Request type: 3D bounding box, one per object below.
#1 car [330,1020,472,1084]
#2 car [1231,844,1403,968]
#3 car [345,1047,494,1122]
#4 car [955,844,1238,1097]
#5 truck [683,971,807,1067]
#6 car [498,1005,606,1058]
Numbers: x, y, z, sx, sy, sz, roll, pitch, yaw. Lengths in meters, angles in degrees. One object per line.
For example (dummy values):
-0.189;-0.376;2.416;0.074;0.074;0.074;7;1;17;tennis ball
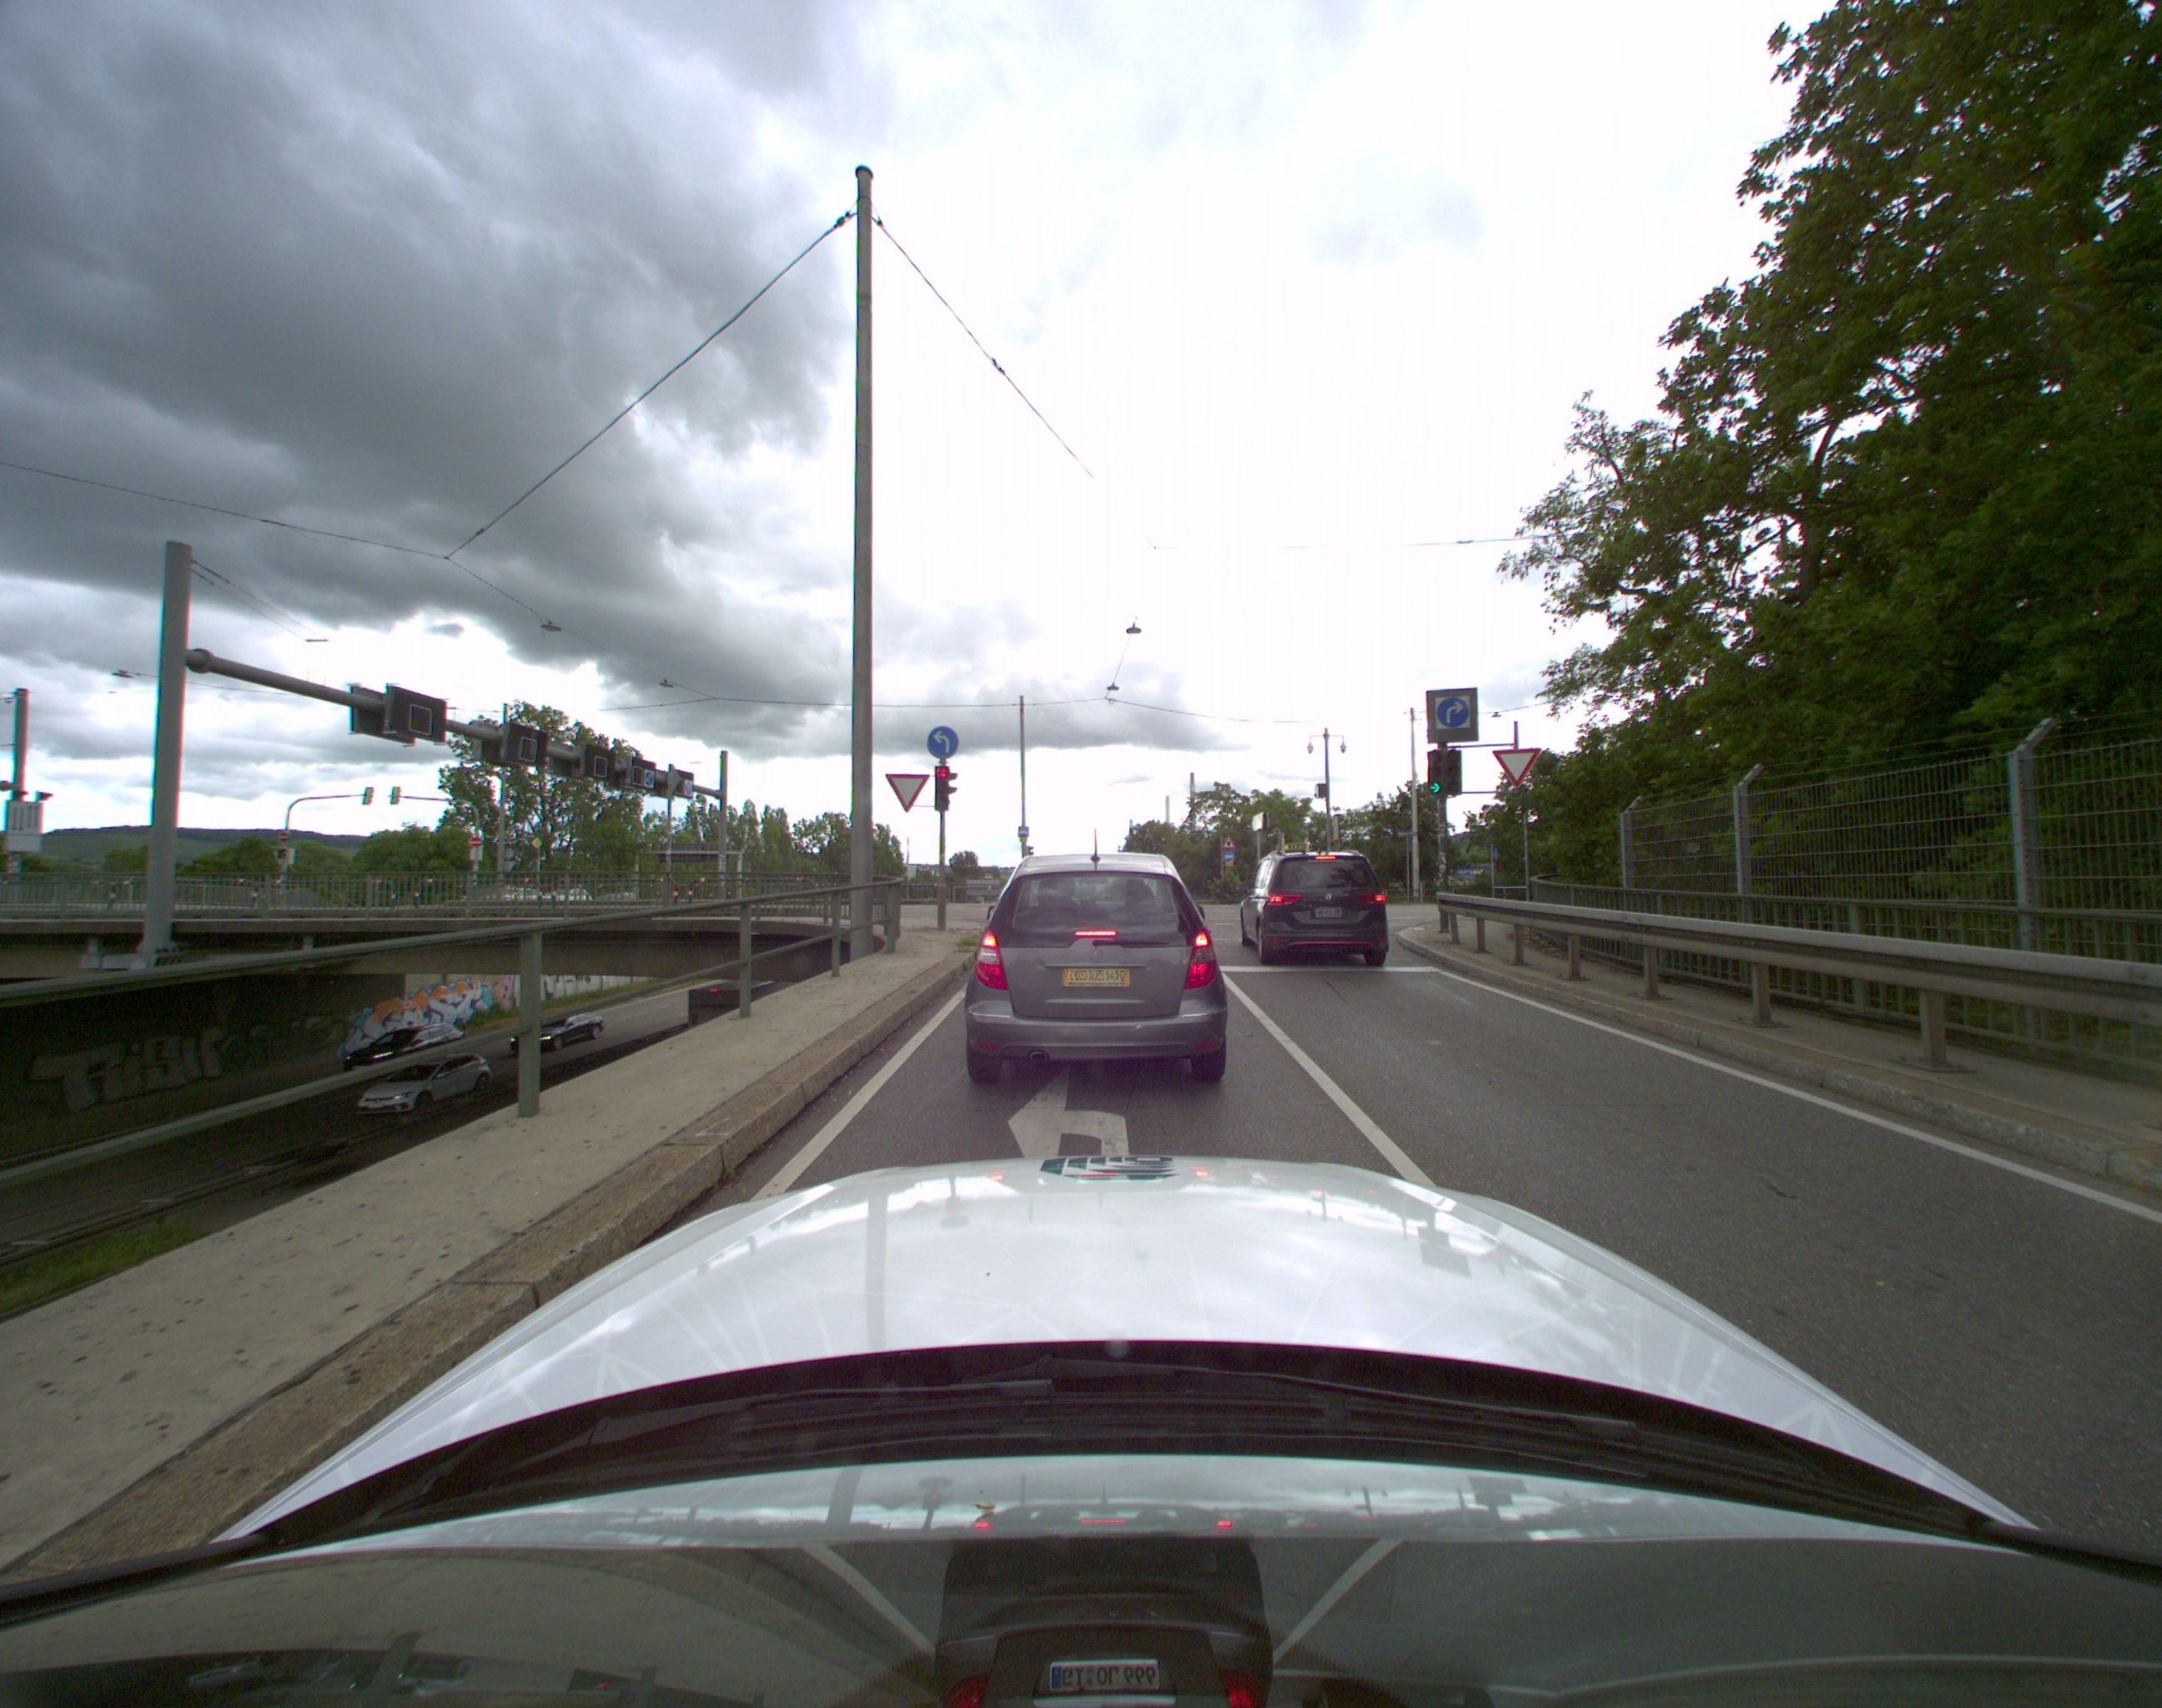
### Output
-28.315;8.218;34.160;1.986;1.626;4.580;-3;-3;2;car
3.531;0.714;12.976;1.788;1.653;4.155;0;-1;4;car
-22.176;7.700;27.519;1.768;1.494;3.897;-3;-3;0;car
0.156;0.730;6.783;1.733;1.543;3.542;0;-1;2;car
-14.562;7.068;35.895;2.224;3.009;7.233;-2;-3;2;truck
-24.795;8.303;38.415;1.986;1.626;4.580;-3;-3;2;car
